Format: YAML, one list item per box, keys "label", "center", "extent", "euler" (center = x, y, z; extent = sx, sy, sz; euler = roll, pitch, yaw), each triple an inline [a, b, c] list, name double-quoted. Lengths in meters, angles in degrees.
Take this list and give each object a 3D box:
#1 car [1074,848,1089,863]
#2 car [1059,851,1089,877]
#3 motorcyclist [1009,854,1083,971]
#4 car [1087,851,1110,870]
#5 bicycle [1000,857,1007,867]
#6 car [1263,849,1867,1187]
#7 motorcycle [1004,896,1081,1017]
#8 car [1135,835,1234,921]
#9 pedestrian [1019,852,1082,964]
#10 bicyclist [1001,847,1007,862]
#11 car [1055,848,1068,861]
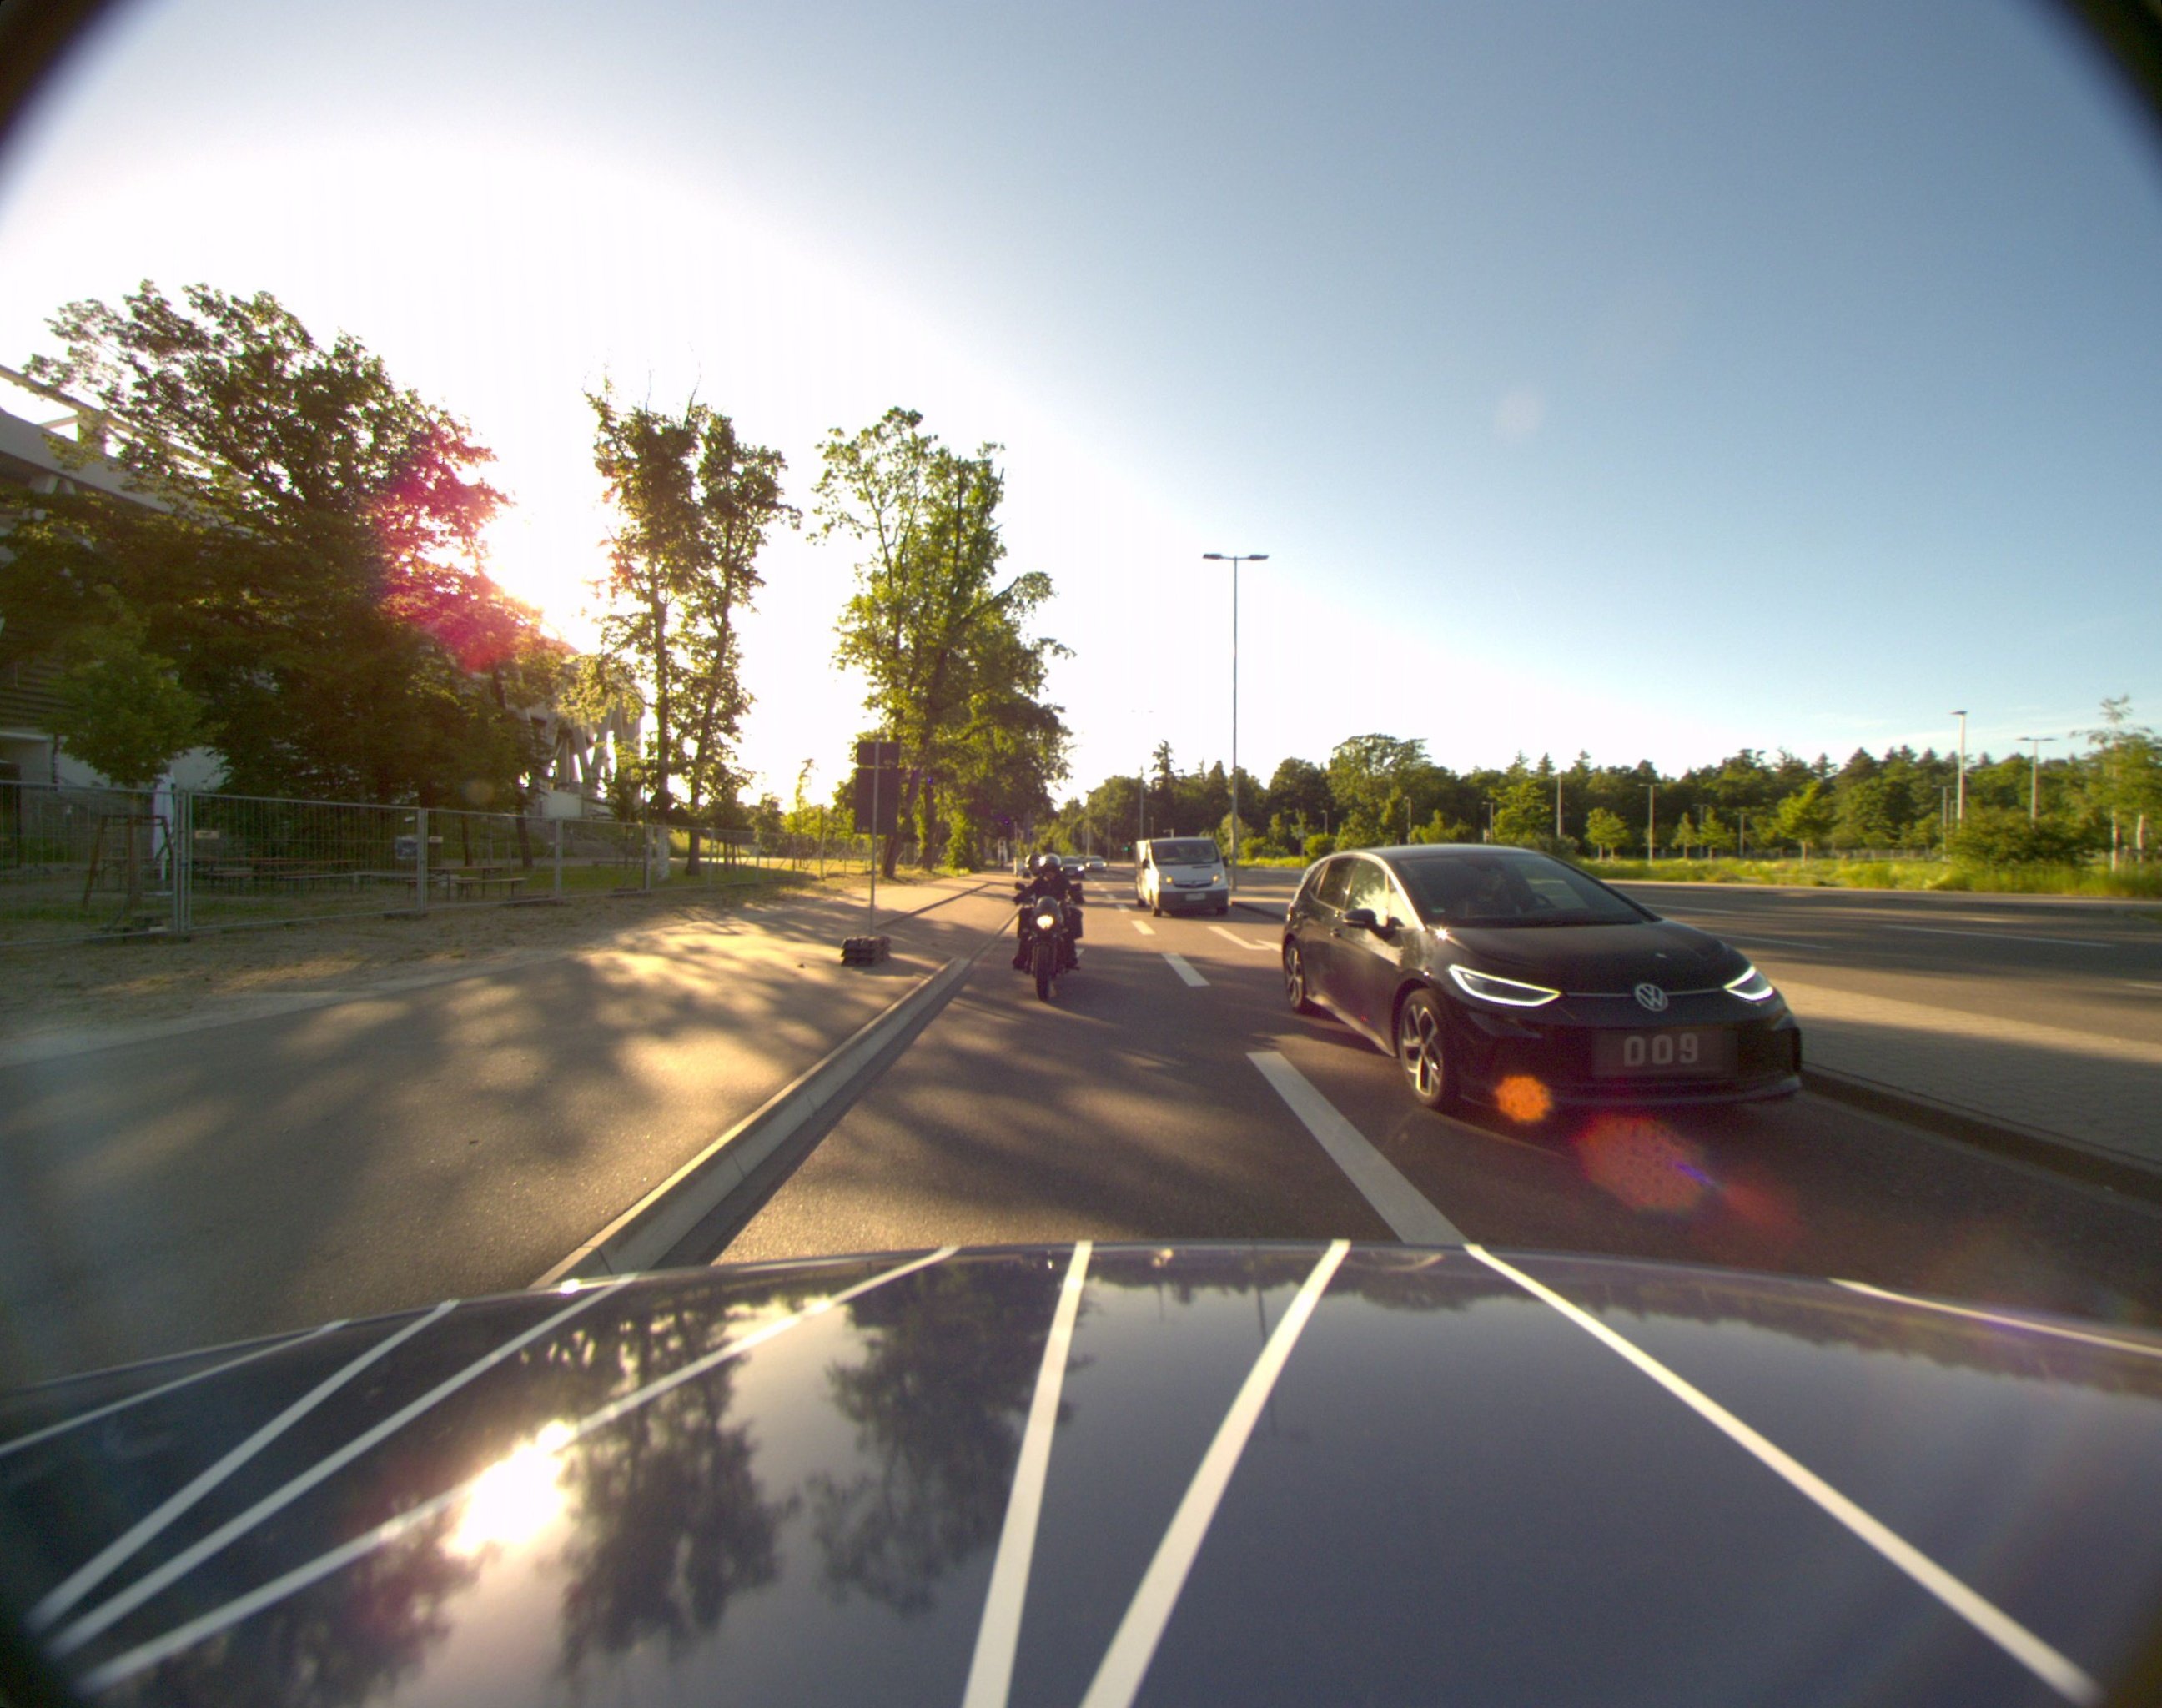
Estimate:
- label: "car"
  center: [0.071, 0.170, 93.328]
  extent: [1.638, 1.674, 4.000]
  euler: [-2, 1, 1]
- label: "car"
  center: [-0.452, 0.640, 50.440]
  extent: [1.883, 1.629, 5.048]
  euler: [-2, 0, 0]
- label: "motorcyclist"
  center: [-0.416, 0.697, 9.302]
  extent: [0.822, 1.367, 0.476]
  euler: [-2, 1, 1]
- label: "car"
  center: [1.526, 0.585, 68.694]
  extent: [1.883, 1.514, 5.048]
  euler: [-2, 0, 0]
- label: "bicycle"
  center: [-7.116, 0.737, 69.819]
  extent: [0.481, 0.854, 1.910]
  euler: [0, 0, 1]
- label: "car"
  center: [2.807, 0.776, 5.637]
  extent: [1.883, 1.528, 3.999]
  euler: [-2, 1, 0]
- label: "motorcycle"
  center: [-0.393, 1.136, 9.196]
  extent: [0.717, 1.058, 2.721]
  euler: [-2, 0, 1]
- label: "car"
  center: [2.606, 0.581, 20.421]
  extent: [1.883, 1.951, 5.048]
  euler: [-2, 0, 0]
- label: "pedestrian"
  center: [-0.383, 0.678, 9.788]
  extent: [0.739, 1.387, 0.500]
  euler: [-2, 1, 1]
- label: "bicyclist"
  center: [-7.103, 0.027, 69.981]
  extent: [0.451, 1.412, 0.575]
  euler: [0, 1, 2]
- label: "car"
  center: [-2.914, 0.061, 116.898]
  extent: [1.774, 1.849, 3.999]
  euler: [-2, 1, 1]
